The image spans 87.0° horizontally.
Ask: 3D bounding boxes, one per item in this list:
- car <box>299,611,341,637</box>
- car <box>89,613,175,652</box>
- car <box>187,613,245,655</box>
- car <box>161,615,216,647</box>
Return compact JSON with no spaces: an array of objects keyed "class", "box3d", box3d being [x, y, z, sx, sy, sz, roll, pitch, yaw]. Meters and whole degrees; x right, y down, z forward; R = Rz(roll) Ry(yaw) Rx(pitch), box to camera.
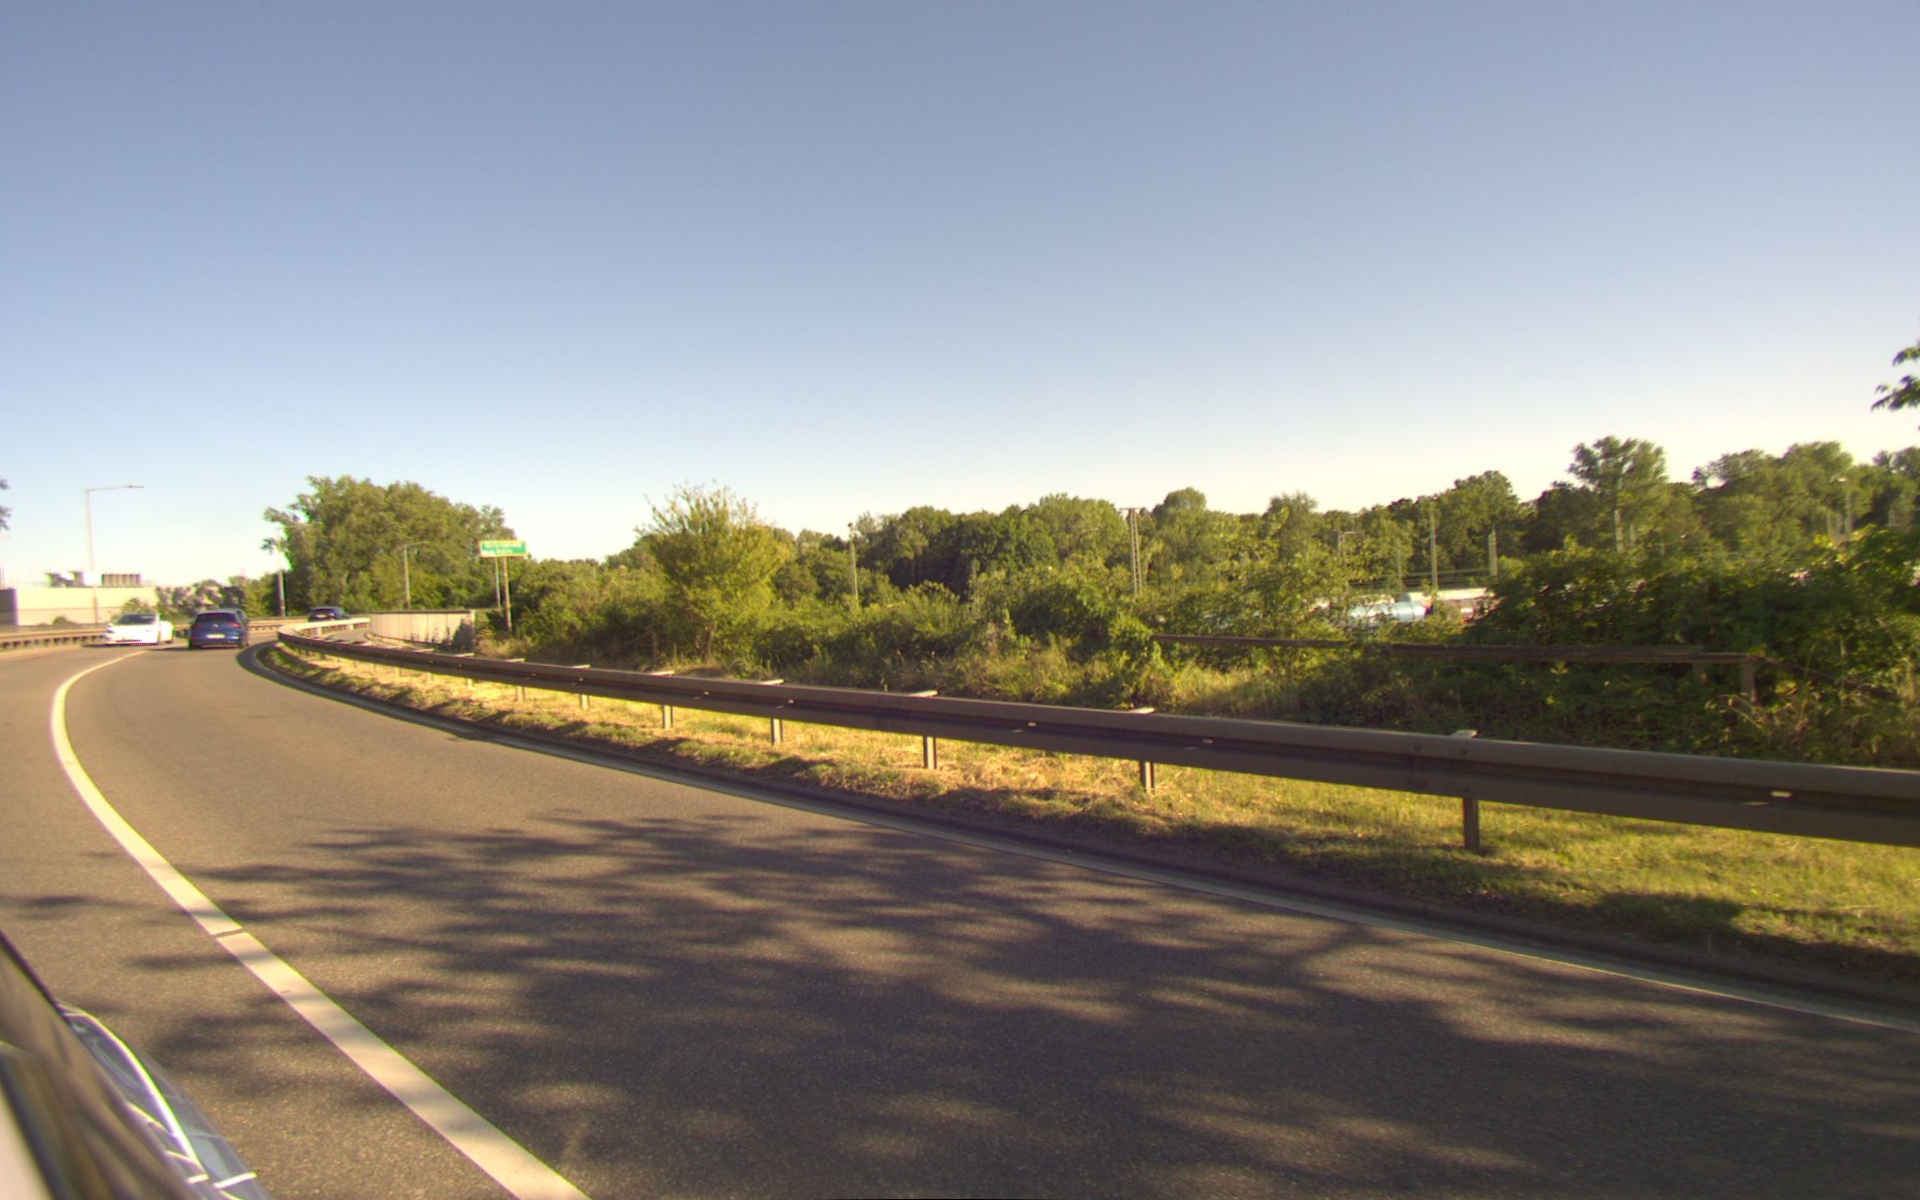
[{"class":"car","box3d":[-43.915,1.625,69.534,1.655,1.668,3.871,-1,0,-21]},{"class":"car","box3d":[-36.160,1.385,44.313,2.114,1.579,4.211,0,-1,-28]},{"class":"car","box3d":[-28.185,1.243,38.423,1.656,1.461,4.010,-1,1,-35]},{"class":"car","box3d":[-44.662,1.765,58.656,1.655,1.717,3.617,-1,0,-23]}]
